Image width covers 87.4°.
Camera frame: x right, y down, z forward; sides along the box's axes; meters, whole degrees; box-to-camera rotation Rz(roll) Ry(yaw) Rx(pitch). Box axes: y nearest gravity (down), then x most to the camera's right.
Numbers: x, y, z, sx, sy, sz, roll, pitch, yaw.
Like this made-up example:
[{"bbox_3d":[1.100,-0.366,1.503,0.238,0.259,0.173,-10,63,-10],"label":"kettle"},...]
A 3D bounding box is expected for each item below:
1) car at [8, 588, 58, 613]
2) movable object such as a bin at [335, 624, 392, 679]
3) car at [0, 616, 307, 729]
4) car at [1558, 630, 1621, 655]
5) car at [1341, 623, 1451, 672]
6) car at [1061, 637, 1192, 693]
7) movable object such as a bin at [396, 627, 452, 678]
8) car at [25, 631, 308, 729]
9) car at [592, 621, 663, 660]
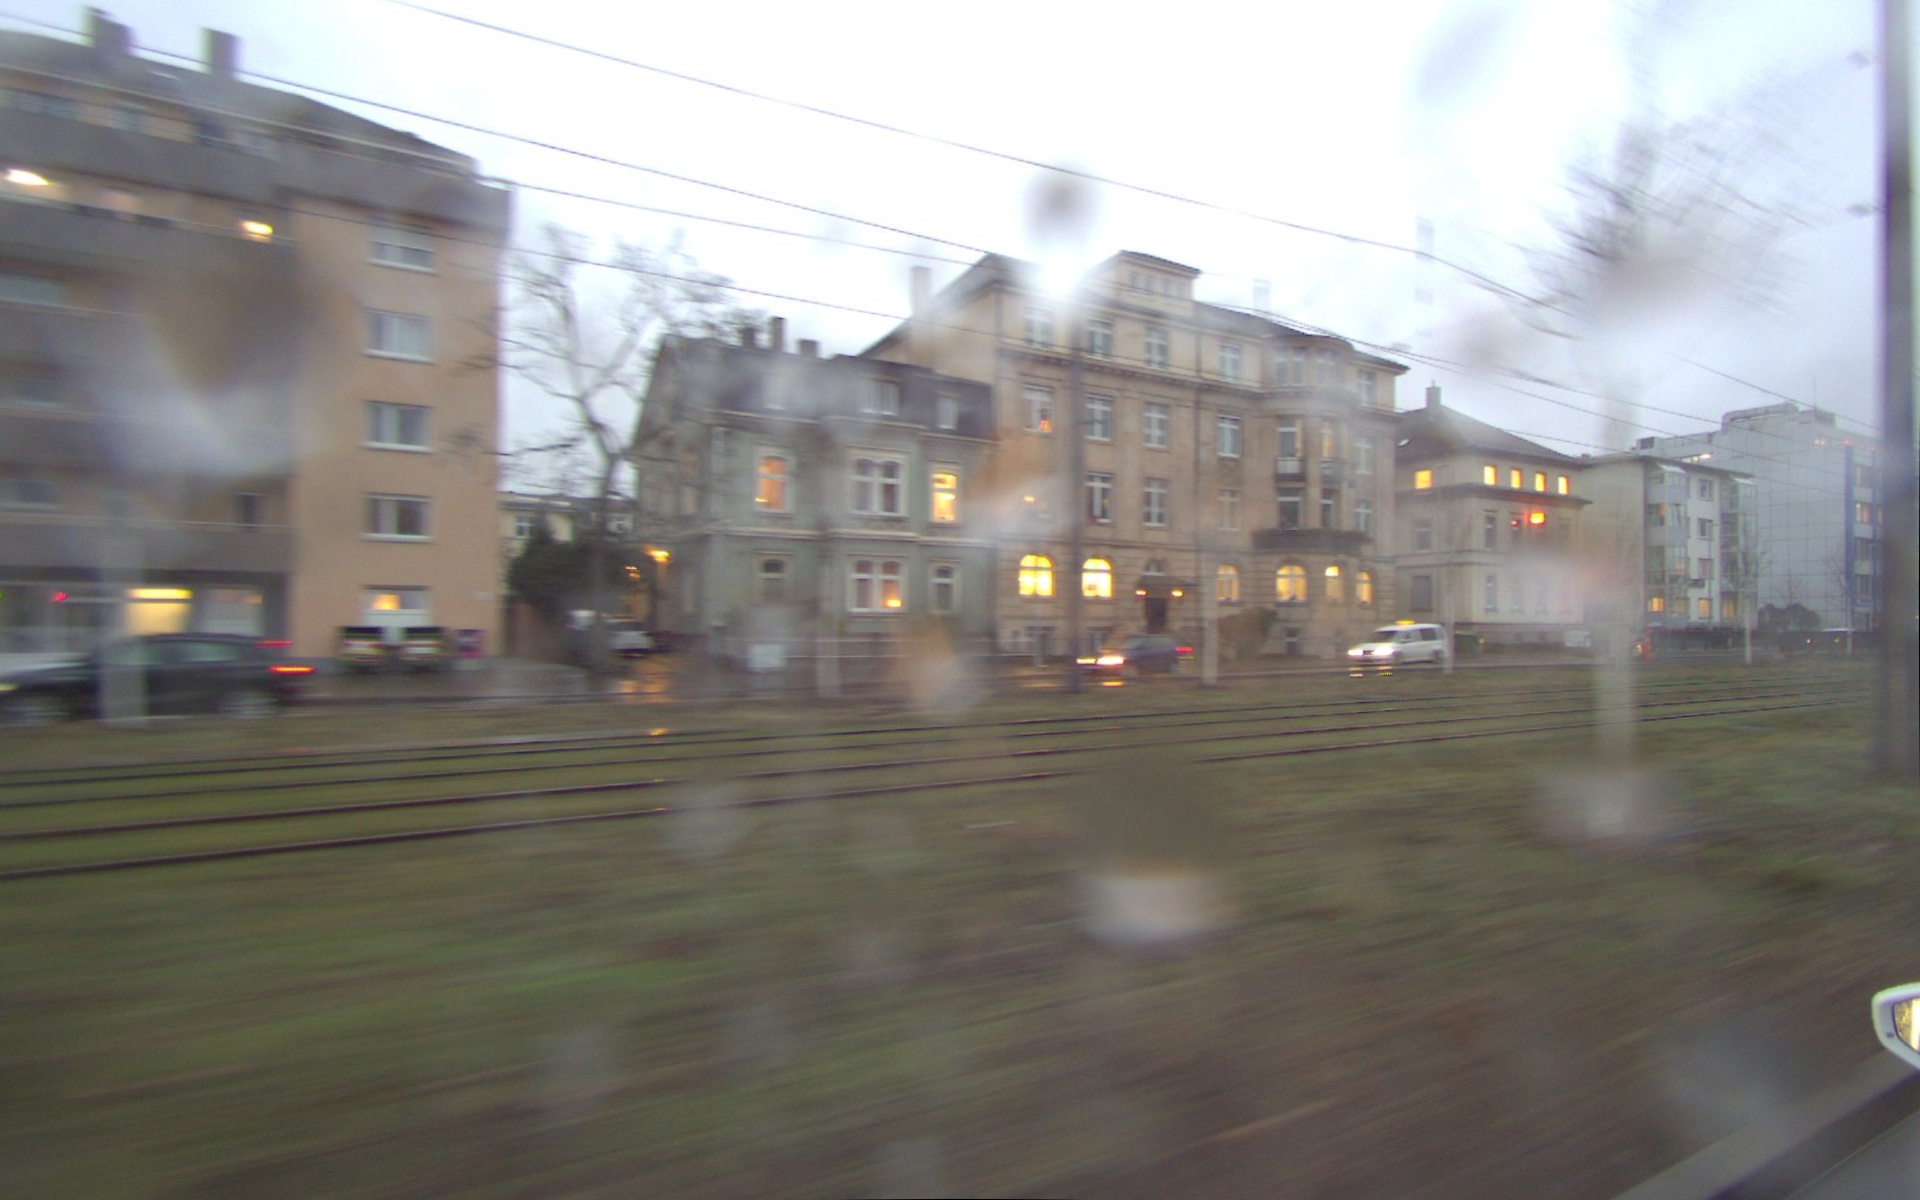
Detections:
[{"bbox_3d":[-62.659,0.059,67.946,1.738,1.572,3.806,1,-1,-31],"label":"car"},{"bbox_3d":[-17.717,1.500,29.844,1.409,1.581,1.101,1,-2,-33],"label":"movable object such as a bin"},{"bbox_3d":[-13.085,1.122,16.395,3.955,1.606,1.792,2,0,-31],"label":"car"},{"bbox_3d":[38.034,2.558,60.666,3.885,1.455,1.796,1,-2,-33],"label":"car"},{"bbox_3d":[18.567,1.970,42.719,4.859,1.958,1.982,1,-2,-33],"label":"car"},{"bbox_3d":[5.604,2.136,33.678,4.067,1.715,1.982,1,-2,-33],"label":"car"},{"bbox_3d":[-16.366,1.576,30.676,1.409,1.500,1.101,1,-2,-33],"label":"movable object such as a bin"},{"bbox_3d":[-14.784,1.451,19.033,3.955,1.606,1.792,2,0,-31],"label":"car"},{"bbox_3d":[-13.100,1.554,39.410,1.812,1.425,3.967,1,-2,-31],"label":"car"}]
